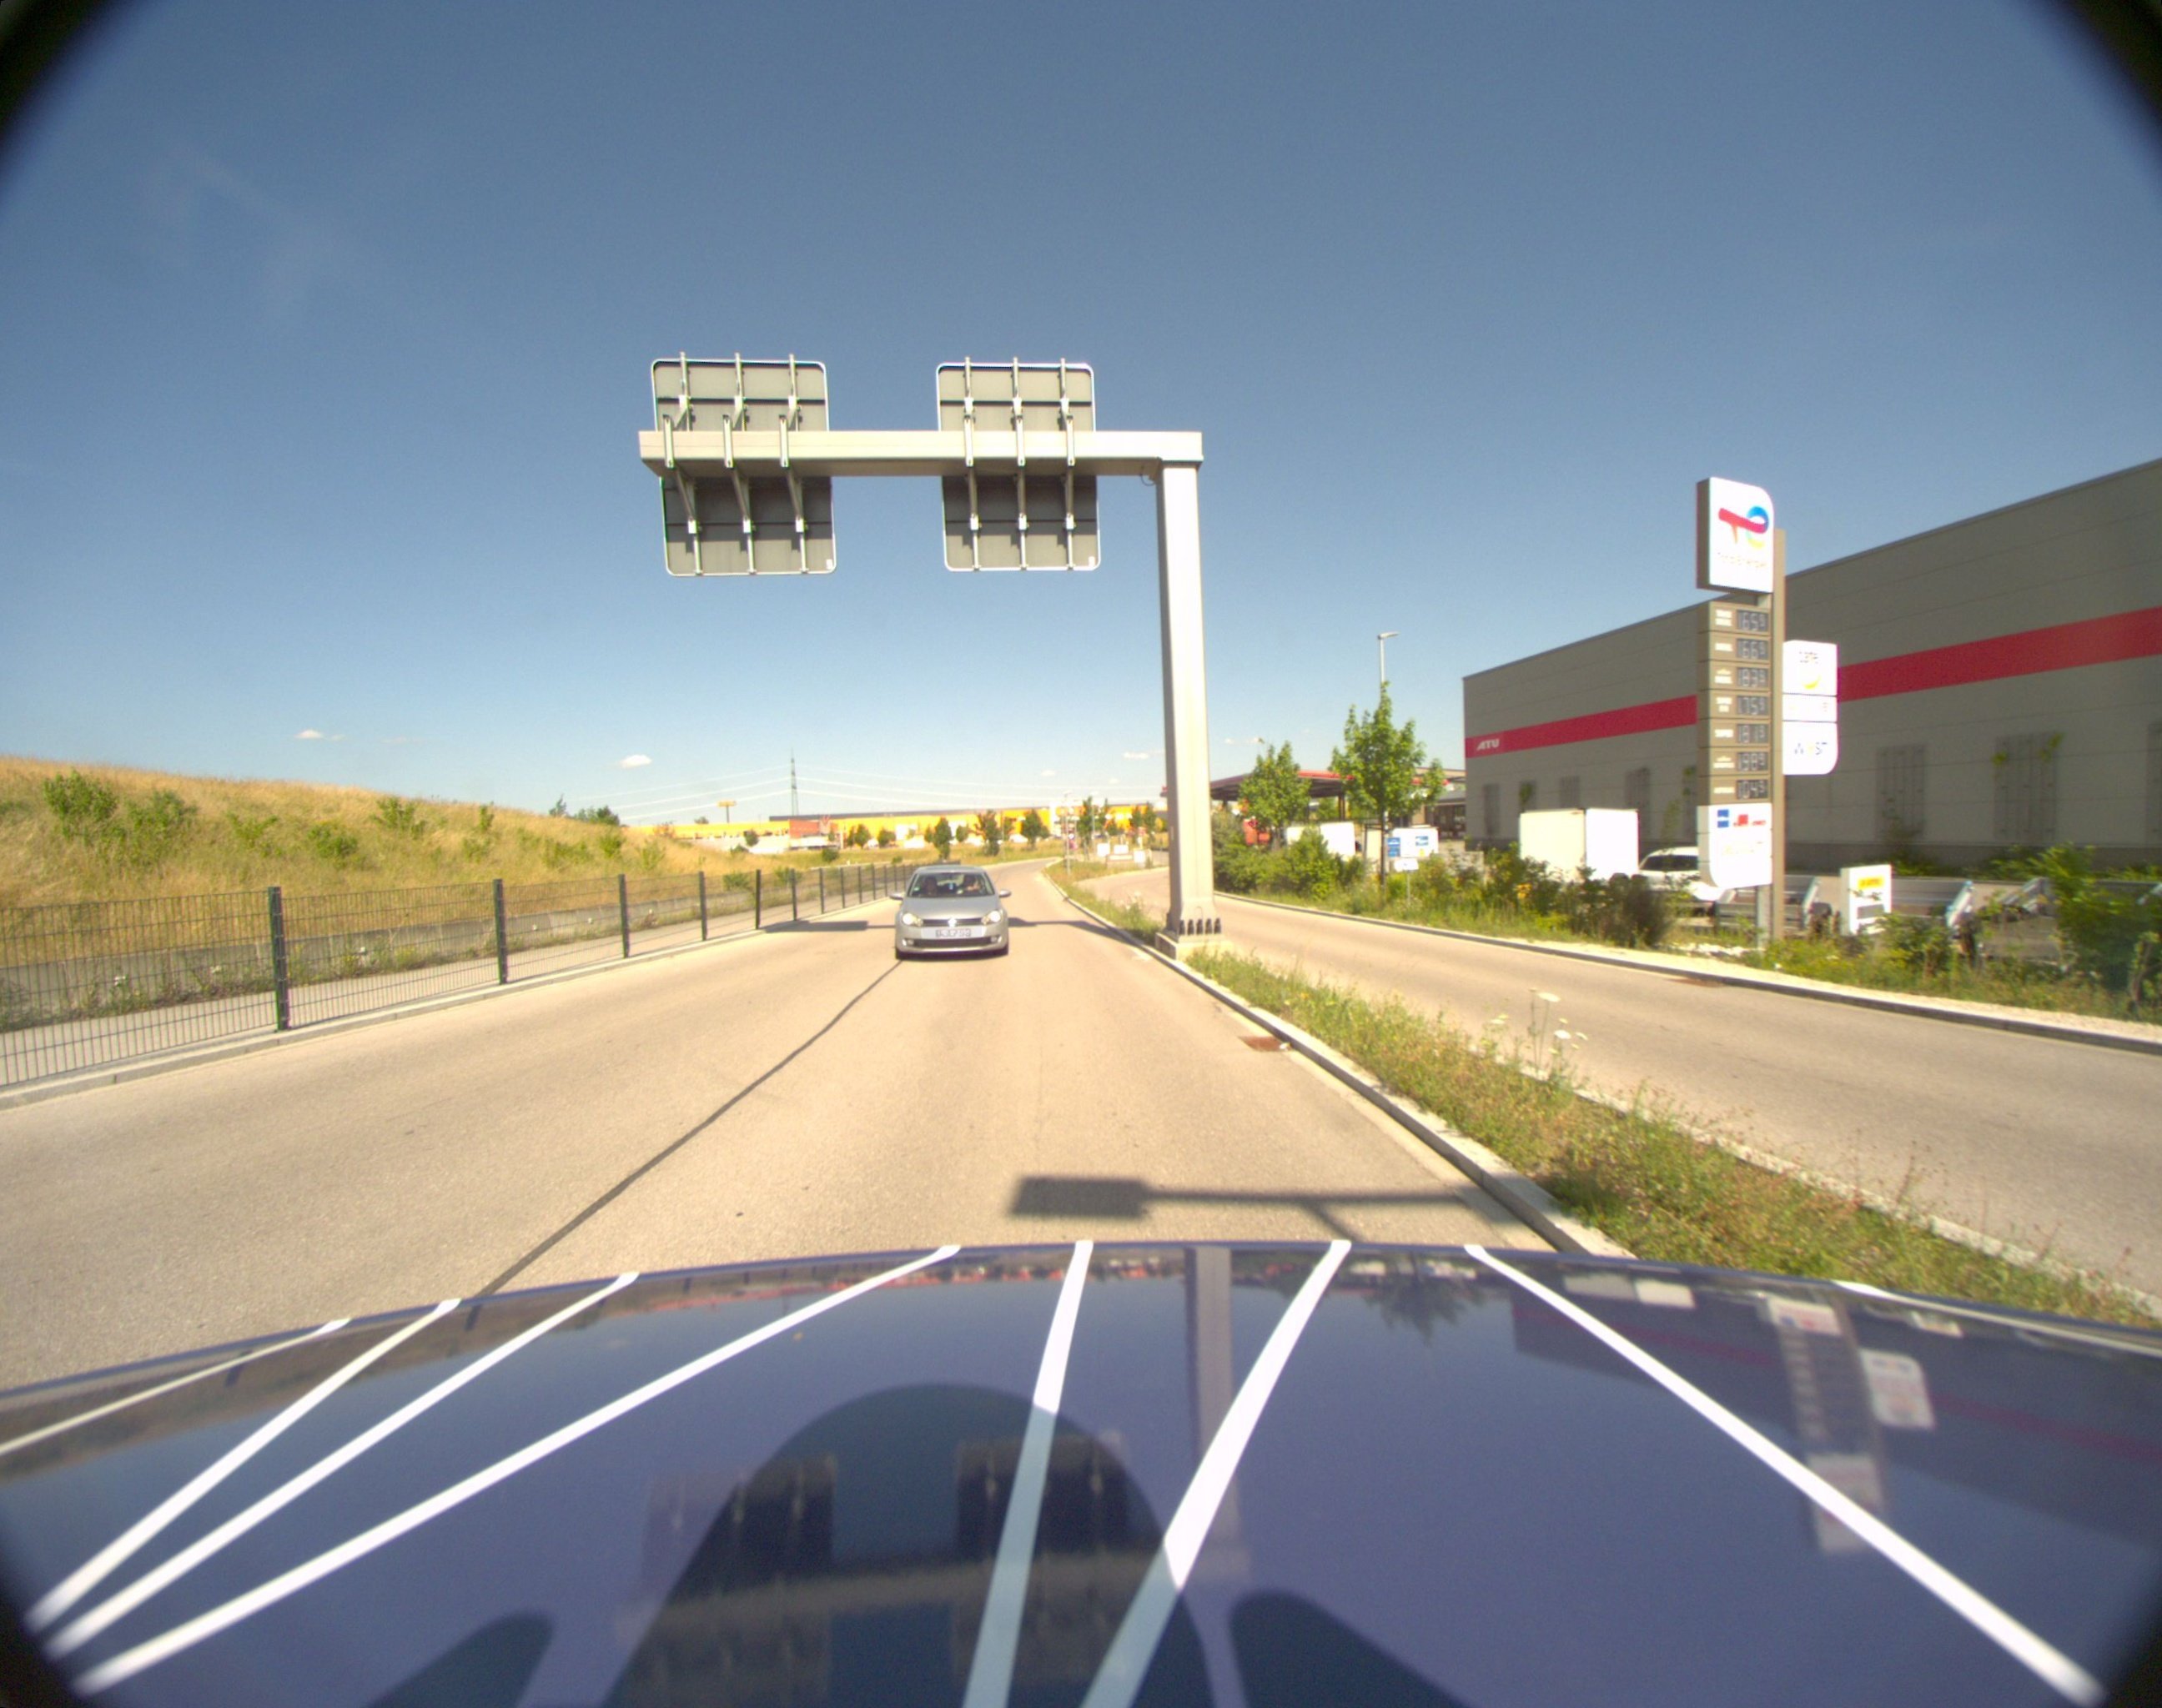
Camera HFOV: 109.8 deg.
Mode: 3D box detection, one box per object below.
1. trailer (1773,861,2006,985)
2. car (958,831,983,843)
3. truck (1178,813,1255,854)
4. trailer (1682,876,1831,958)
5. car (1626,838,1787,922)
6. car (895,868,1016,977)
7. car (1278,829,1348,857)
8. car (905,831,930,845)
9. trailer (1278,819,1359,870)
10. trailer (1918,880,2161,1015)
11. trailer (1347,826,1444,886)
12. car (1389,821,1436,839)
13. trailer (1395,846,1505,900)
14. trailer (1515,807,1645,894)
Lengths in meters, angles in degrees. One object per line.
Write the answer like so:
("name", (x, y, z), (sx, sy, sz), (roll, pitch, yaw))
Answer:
("trailer", (12.375, 0.945, 11.624), (3.195, 1.475, 1.545), (-3, 2, -26))
("car", (-21.839, -3.322, 150.145), (4.637, 2.002, 1.998), (-3, 1, -10))
("truck", (12.040, -1.866, 67.150), (6.917, 3.299, 2.635), (-4, 2, -38))
("trailer", (11.775, 1.032, 13.215), (2.780, 1.079, 1.317), (-4, 2, -35))
("car", (14.144, 0.506, 17.128), (4.006, 1.527, 1.715), (-4, 2, -34))
("car", (-2.169, 1.028, 13.093), (1.748, 1.459, 3.956), (0, 1, -10))
("car", (16.819, -0.803, 55.184), (4.521, 1.748, 1.794), (-3, 1, -10))
("car", (-32.014, -3.158, 148.895), (4.637, 2.534, 1.998), (-3, 2, -10))
("trailer", (10.359, -0.432, 33.040), (3.212, 2.002, 1.994), (-4, 2, -44))
("trailer", (12.640, 1.114, 9.880), (2.914, 1.314, 1.387), (-3, 1, -21))
("trailer", (11.481, 0.051, 27.777), (2.741, 2.002, 1.995), (-4, 2, -32))
("car", (31.198, -2.247, 71.539), (3.683, 1.565, 1.696), (-3, 1, 1))
("trailer", (12.325, 0.600, 25.329), (3.605, 1.501, 1.596), (-4, 1, -32))
("trailer", (12.951, -0.125, 19.687), (3.245, 2.002, 1.743), (-4, 2, -36))
